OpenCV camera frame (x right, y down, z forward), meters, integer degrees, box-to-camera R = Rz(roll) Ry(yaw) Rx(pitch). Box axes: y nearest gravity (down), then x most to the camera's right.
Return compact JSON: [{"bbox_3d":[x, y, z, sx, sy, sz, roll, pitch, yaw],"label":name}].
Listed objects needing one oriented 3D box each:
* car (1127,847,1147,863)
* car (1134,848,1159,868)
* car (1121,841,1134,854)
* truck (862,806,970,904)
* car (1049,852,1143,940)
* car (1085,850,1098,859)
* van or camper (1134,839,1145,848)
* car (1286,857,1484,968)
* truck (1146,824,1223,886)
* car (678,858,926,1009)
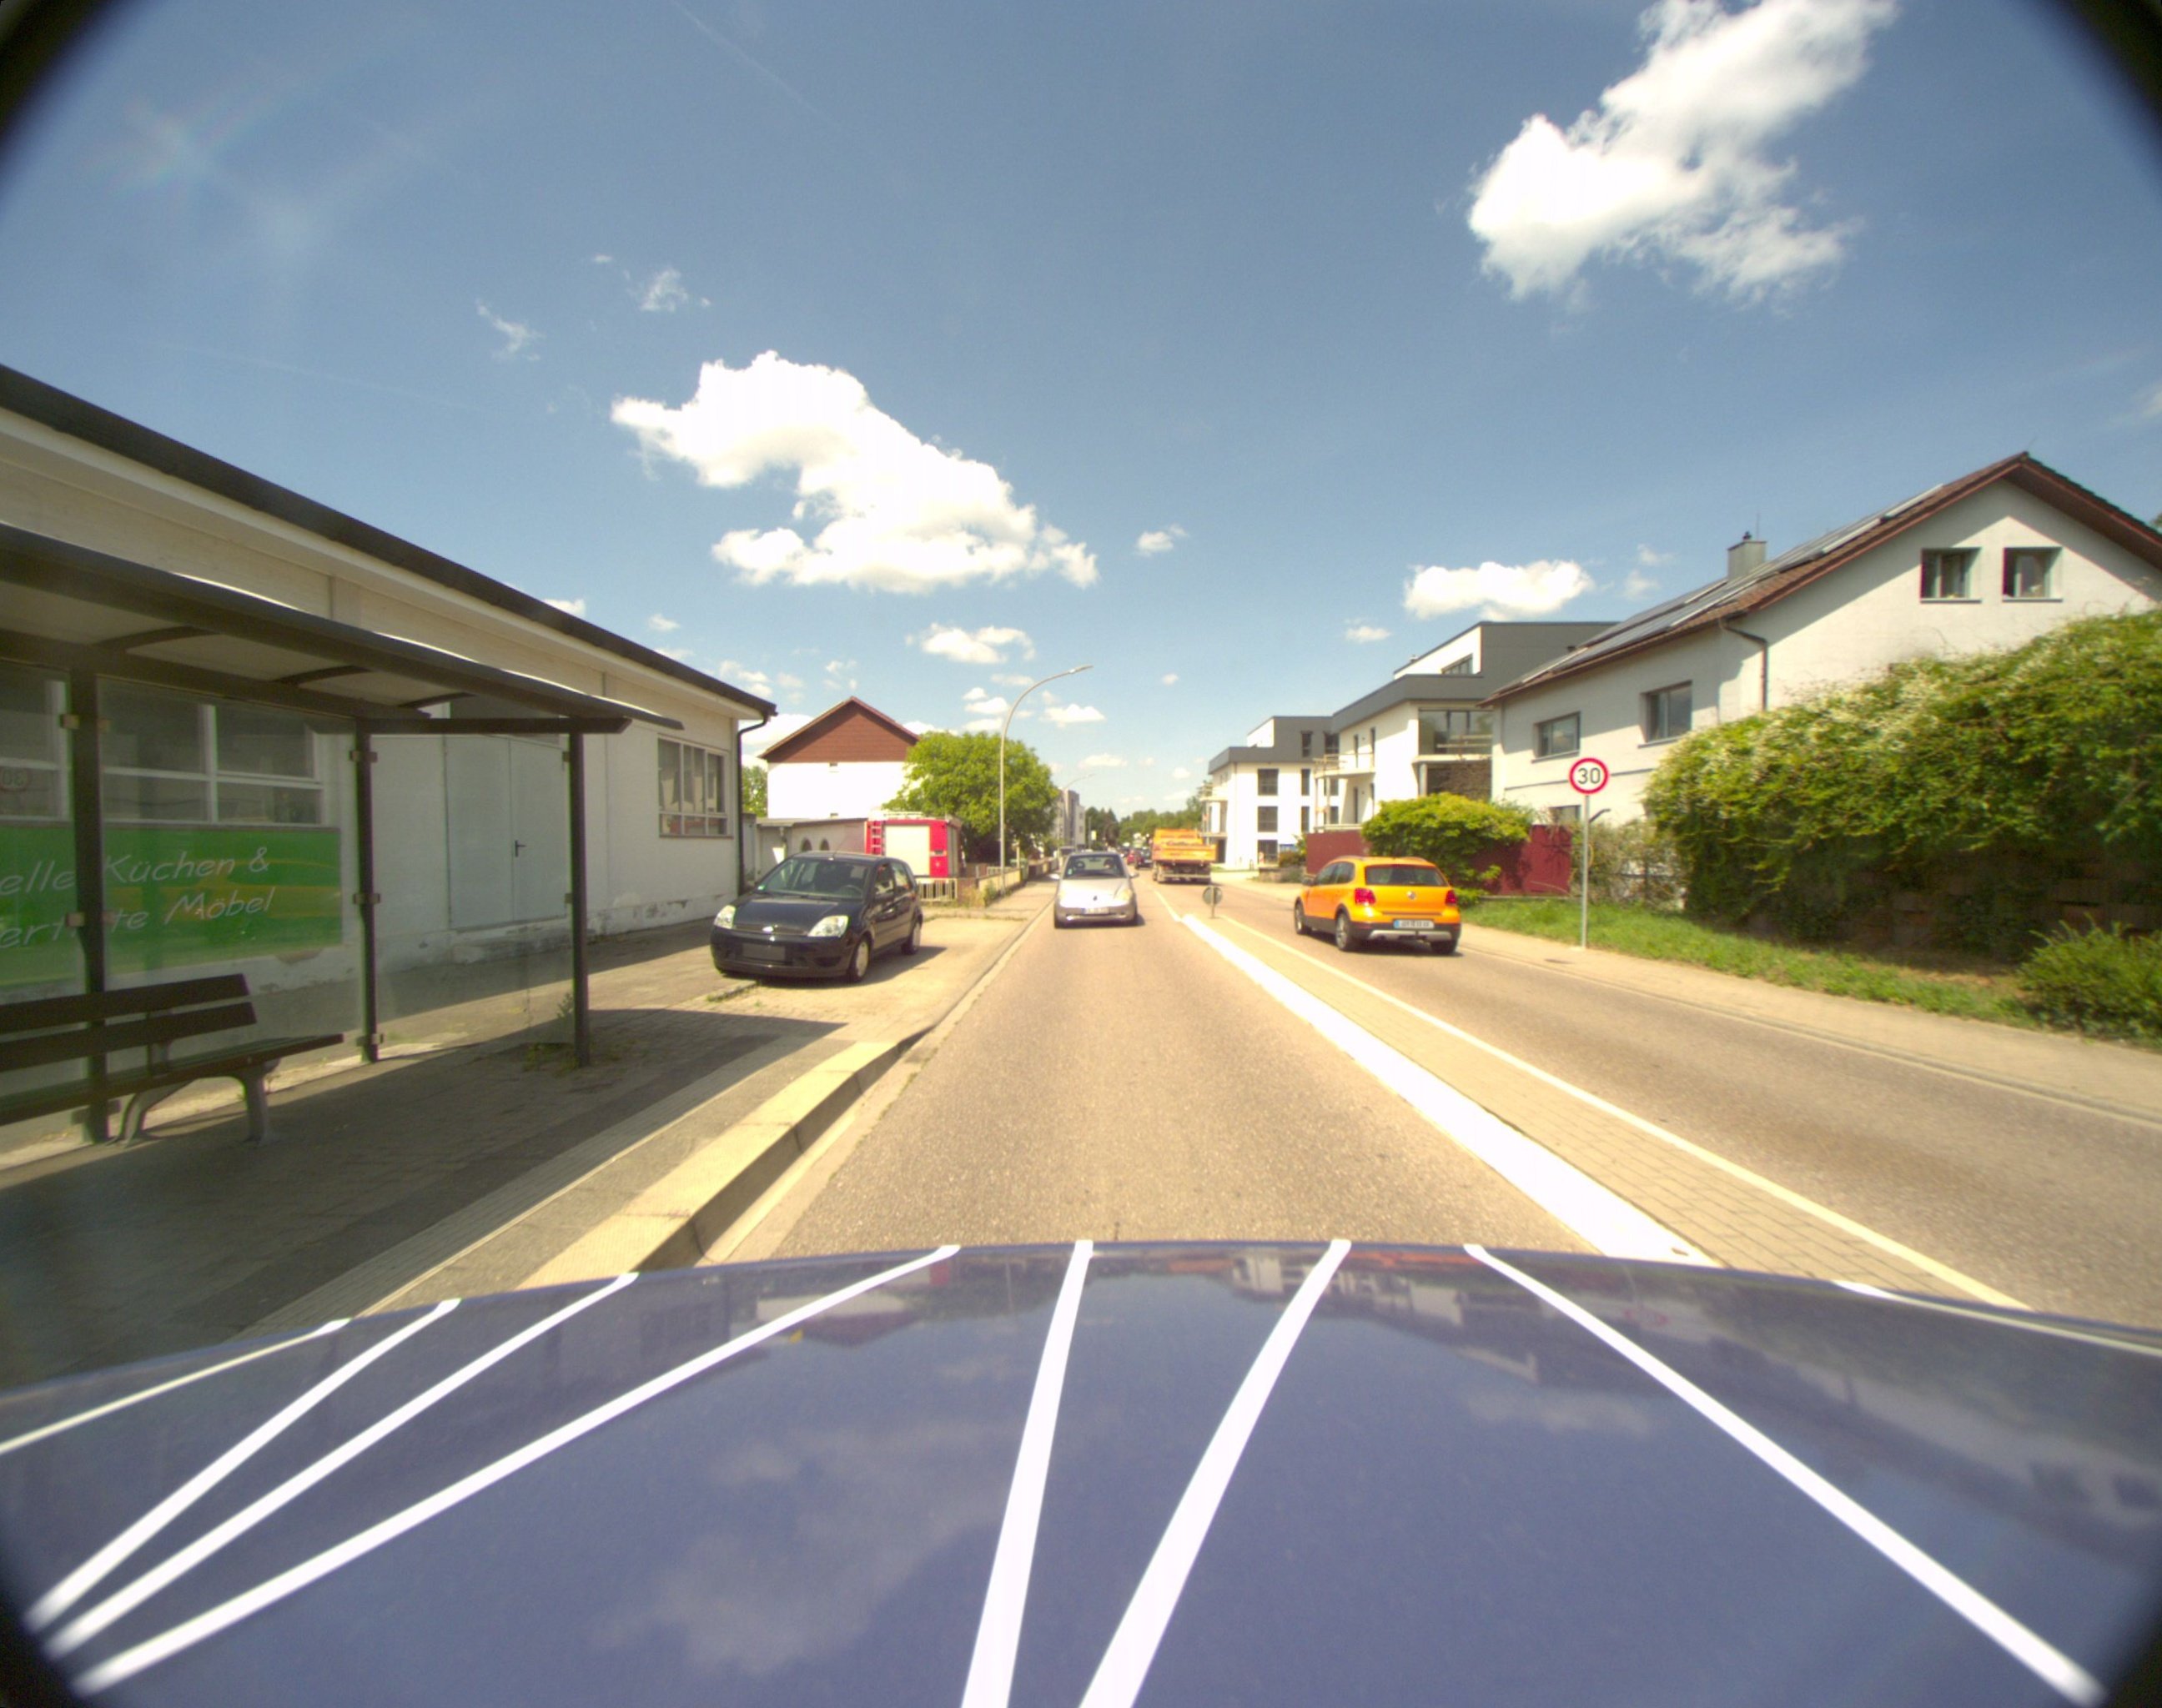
[{"bbox_3d":[5.588,0.106,75.966,1.735,1.509,3.613,1,0,1],"label":"car"},{"bbox_3d":[5.276,0.285,61.319,1.735,1.509,3.613,1,0,1],"label":"car"},{"bbox_3d":[7.054,-0.998,116.152,1.735,1.863,3.613,1,1,1],"label":"car"},{"bbox_3d":[-5.135,0.020,24.773,2.580,2.745,6.331,1,1,-5],"label":"truck"},{"bbox_3d":[0.318,0.790,16.303,1.723,1.590,3.760,-2,0,1],"label":"car"},{"bbox_3d":[1.635,0.085,119.891,1.728,1.484,3.761,1,0,4],"label":"car"},{"bbox_3d":[14.429,-2.505,186.503,1.995,2.217,4.452,1,1,12],"label":"van or camper"},{"bbox_3d":[4.750,0.823,12.447,1.799,1.480,3.613,1,0,1],"label":"car"},{"bbox_3d":[4.915,0.001,37.398,2.864,2.695,6.791,1,1,1],"label":"truck"},{"bbox_3d":[-3.272,0.831,9.730,1.729,1.484,3.760,1,0,1],"label":"car"}]
